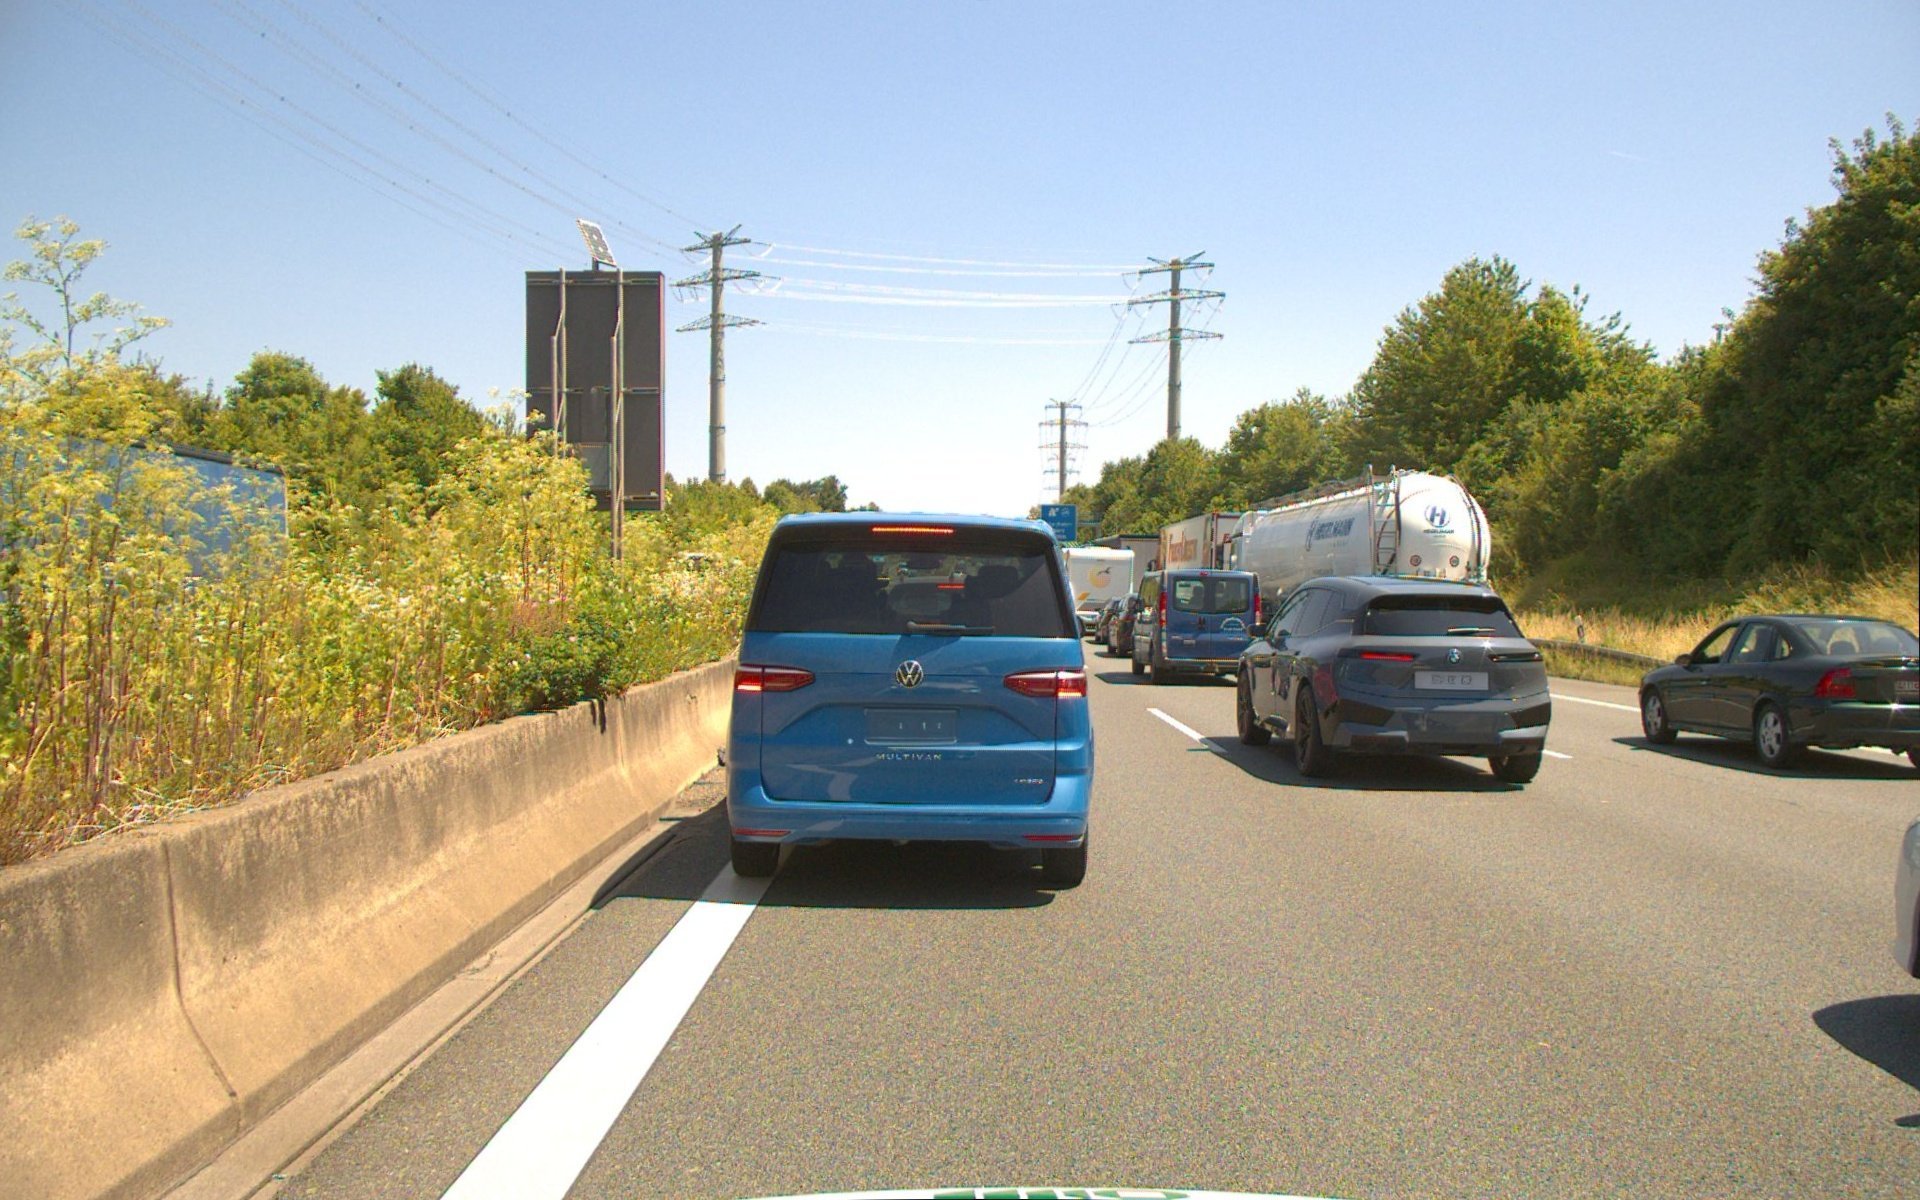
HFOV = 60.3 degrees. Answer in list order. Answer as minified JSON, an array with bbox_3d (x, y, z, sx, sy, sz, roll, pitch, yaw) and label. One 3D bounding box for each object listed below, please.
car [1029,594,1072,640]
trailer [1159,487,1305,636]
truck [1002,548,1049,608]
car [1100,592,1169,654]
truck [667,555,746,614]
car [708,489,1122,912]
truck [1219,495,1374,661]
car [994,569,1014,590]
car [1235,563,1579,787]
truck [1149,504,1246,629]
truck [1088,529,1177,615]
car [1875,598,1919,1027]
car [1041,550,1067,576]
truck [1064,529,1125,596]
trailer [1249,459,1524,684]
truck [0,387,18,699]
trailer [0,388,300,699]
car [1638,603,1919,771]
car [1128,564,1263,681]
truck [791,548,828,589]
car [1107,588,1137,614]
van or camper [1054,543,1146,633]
[{"bbox_3d":[4.075,0.771,75.123,1.798,2.033,4.000,-1,-1,1],"label":"car"},{"bbox_3d":[8.983,-1.188,56.293,2.853,4.547,12.152,0,0,-1],"label":"trailer"},{"bbox_3d":[4.361,-1.410,111.849,2.836,3.832,10.140,0,0,1],"label":"truck"},{"bbox_3d":[4.290,0.551,41.034,1.332,1.445,3.884,-1,-1,0],"label":"car"},{"bbox_3d":[-15.081,-0.884,99.310,2.708,3.346,11.820,0,0,1],"label":"truck"},{"bbox_3d":[-0.208,0.452,9.686,1.881,1.919,4.000,1,0,0],"label":"car"},{"bbox_3d":[8.375,-0.534,41.783,2.736,3.903,5.571,0,0,-1],"label":"truck"},{"bbox_3d":[4.775,-2.210,179.780,1.953,2.163,3.999,0,0,-1],"label":"car"},{"bbox_3d":[3.884,0.608,15.254,1.958,1.745,4.625,0,-1,0],"label":"car"},{"bbox_3d":[8.922,-1.216,62.636,2.853,4.547,5.142,0,0,-1],"label":"truck"},{"bbox_3d":[8.332,-1.218,81.865,2.944,3.832,15.713,0,0,1],"label":"truck"},{"bbox_3d":[4.231,0.730,4.088,1.779,1.511,4.000,0,-1,1],"label":"car"},{"bbox_3d":[7.964,-3.135,140.810,1.953,2.049,4.000,0,0,0],"label":"car"},{"bbox_3d":[8.299,-2.194,103.568,2.836,3.832,13.345,0,0,1],"label":"truck"},{"bbox_3d":[8.451,-0.514,34.624,2.705,3.912,11.484,0,0,-1],"label":"trailer"},{"bbox_3d":[-14.747,-0.797,19.856,2.949,4.302,6.686,0,0,1],"label":"truck"},{"bbox_3d":[-14.714,-0.777,27.470,2.949,4.302,10.981,0,0,1],"label":"trailer"},{"bbox_3d":[8.330,0.772,16.367,1.607,1.441,3.989,-1,-1,0],"label":"car"},{"bbox_3d":[4.204,0.399,30.099,1.884,1.959,4.236,-1,-1,1],"label":"car"},{"bbox_3d":[-14.145,-2.959,155.926,3.009,3.774,5.462,0,0,-1],"label":"truck"},{"bbox_3d":[12.899,0.092,132.082,1.953,2.049,3.999,0,0,-1],"label":"car"},{"bbox_3d":[4.981,-0.395,60.148,2.896,3.075,7.103,0,0,1],"label":"van or camper"}]
